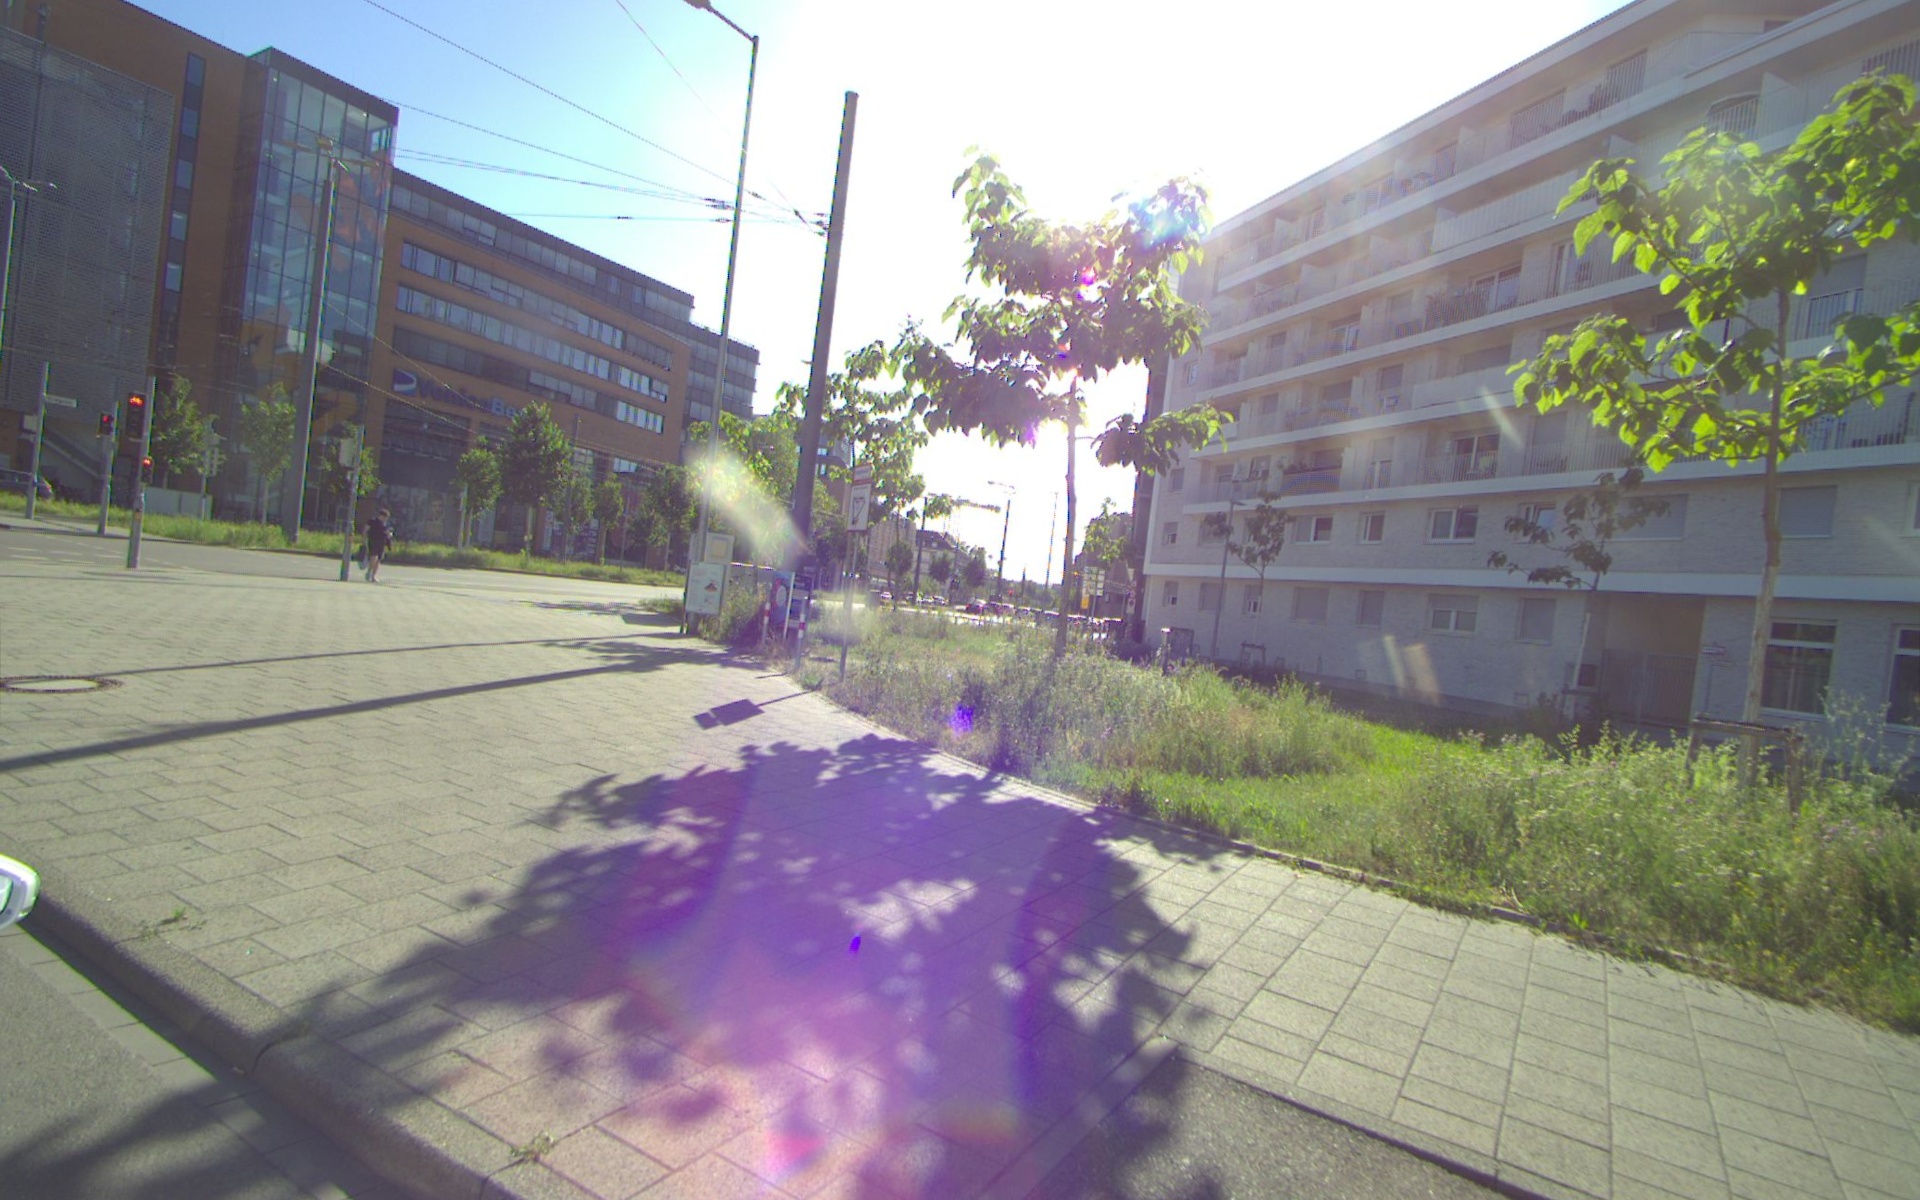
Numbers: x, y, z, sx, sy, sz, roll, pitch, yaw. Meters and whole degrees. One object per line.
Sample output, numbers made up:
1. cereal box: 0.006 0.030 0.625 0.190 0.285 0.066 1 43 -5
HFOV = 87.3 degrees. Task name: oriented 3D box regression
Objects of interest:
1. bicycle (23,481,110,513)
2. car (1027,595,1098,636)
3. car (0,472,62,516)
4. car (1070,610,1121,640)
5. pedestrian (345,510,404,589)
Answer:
1. bicycle: -48.684 -5.600 54.871 1.100 1.090 3.361 8 -1 37
2. car: 6.370 0.935 62.760 3.929 2.038 1.998 7 0 -5
3. car: -39.355 -4.494 40.481 1.470 1.513 4.493 7 0 31
4. car: 11.613 2.123 86.311 3.926 2.038 2.000 7 0 -1
5. pedestrian: -13.950 -1.196 23.976 0.749 1.730 0.807 7 1 31
